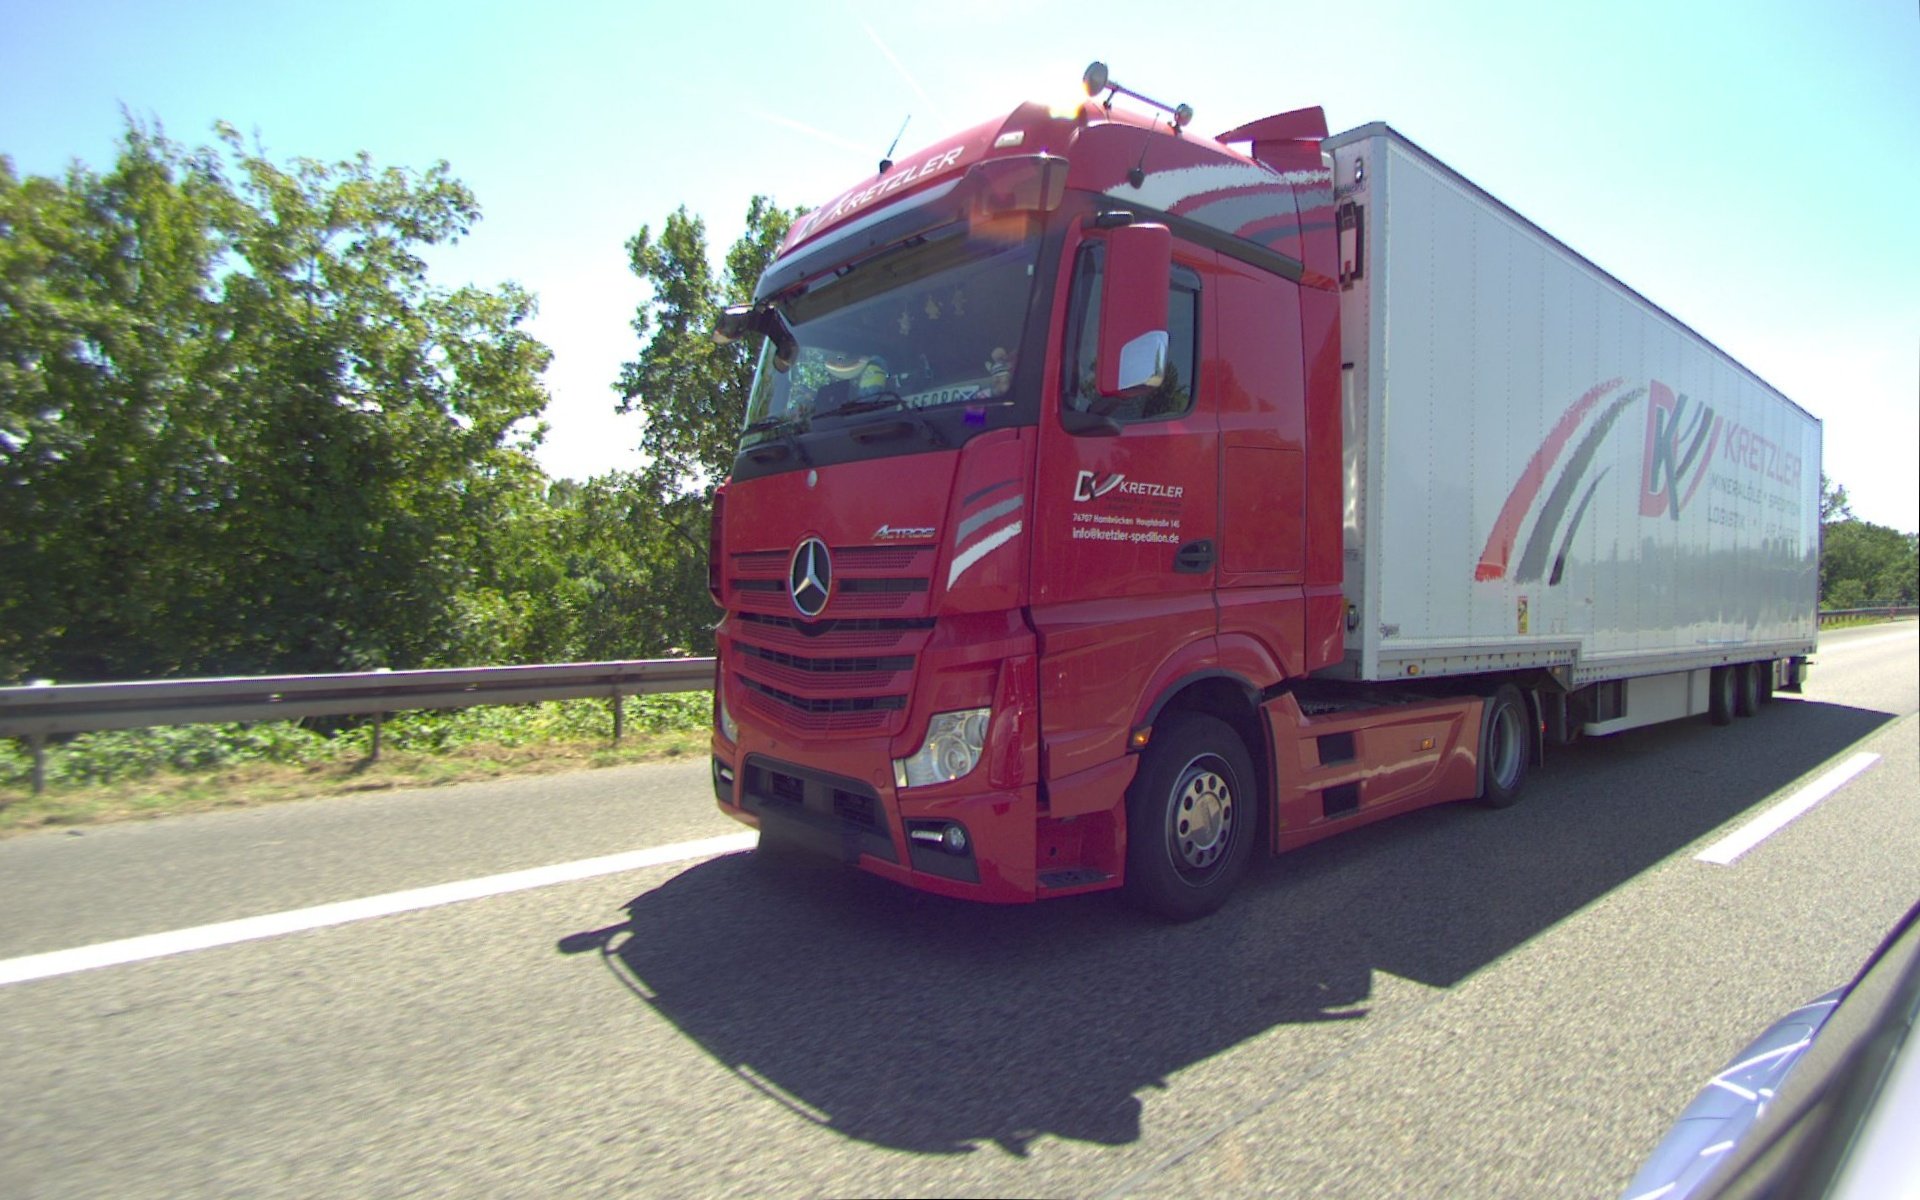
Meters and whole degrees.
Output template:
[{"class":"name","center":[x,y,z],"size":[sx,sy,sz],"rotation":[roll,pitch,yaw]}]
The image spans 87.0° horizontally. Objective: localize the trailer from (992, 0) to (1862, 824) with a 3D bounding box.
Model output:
[{"class":"trailer","center":[6.566,-1.232,11.242],"size":[13.780,4.898,3.276],"rotation":[0,0,-40]}]

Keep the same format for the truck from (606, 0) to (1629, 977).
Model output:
[{"class":"truck","center":[1.576,-1.193,6.962],"size":[6.848,4.951,3.241],"rotation":[0,0,-40]}]
